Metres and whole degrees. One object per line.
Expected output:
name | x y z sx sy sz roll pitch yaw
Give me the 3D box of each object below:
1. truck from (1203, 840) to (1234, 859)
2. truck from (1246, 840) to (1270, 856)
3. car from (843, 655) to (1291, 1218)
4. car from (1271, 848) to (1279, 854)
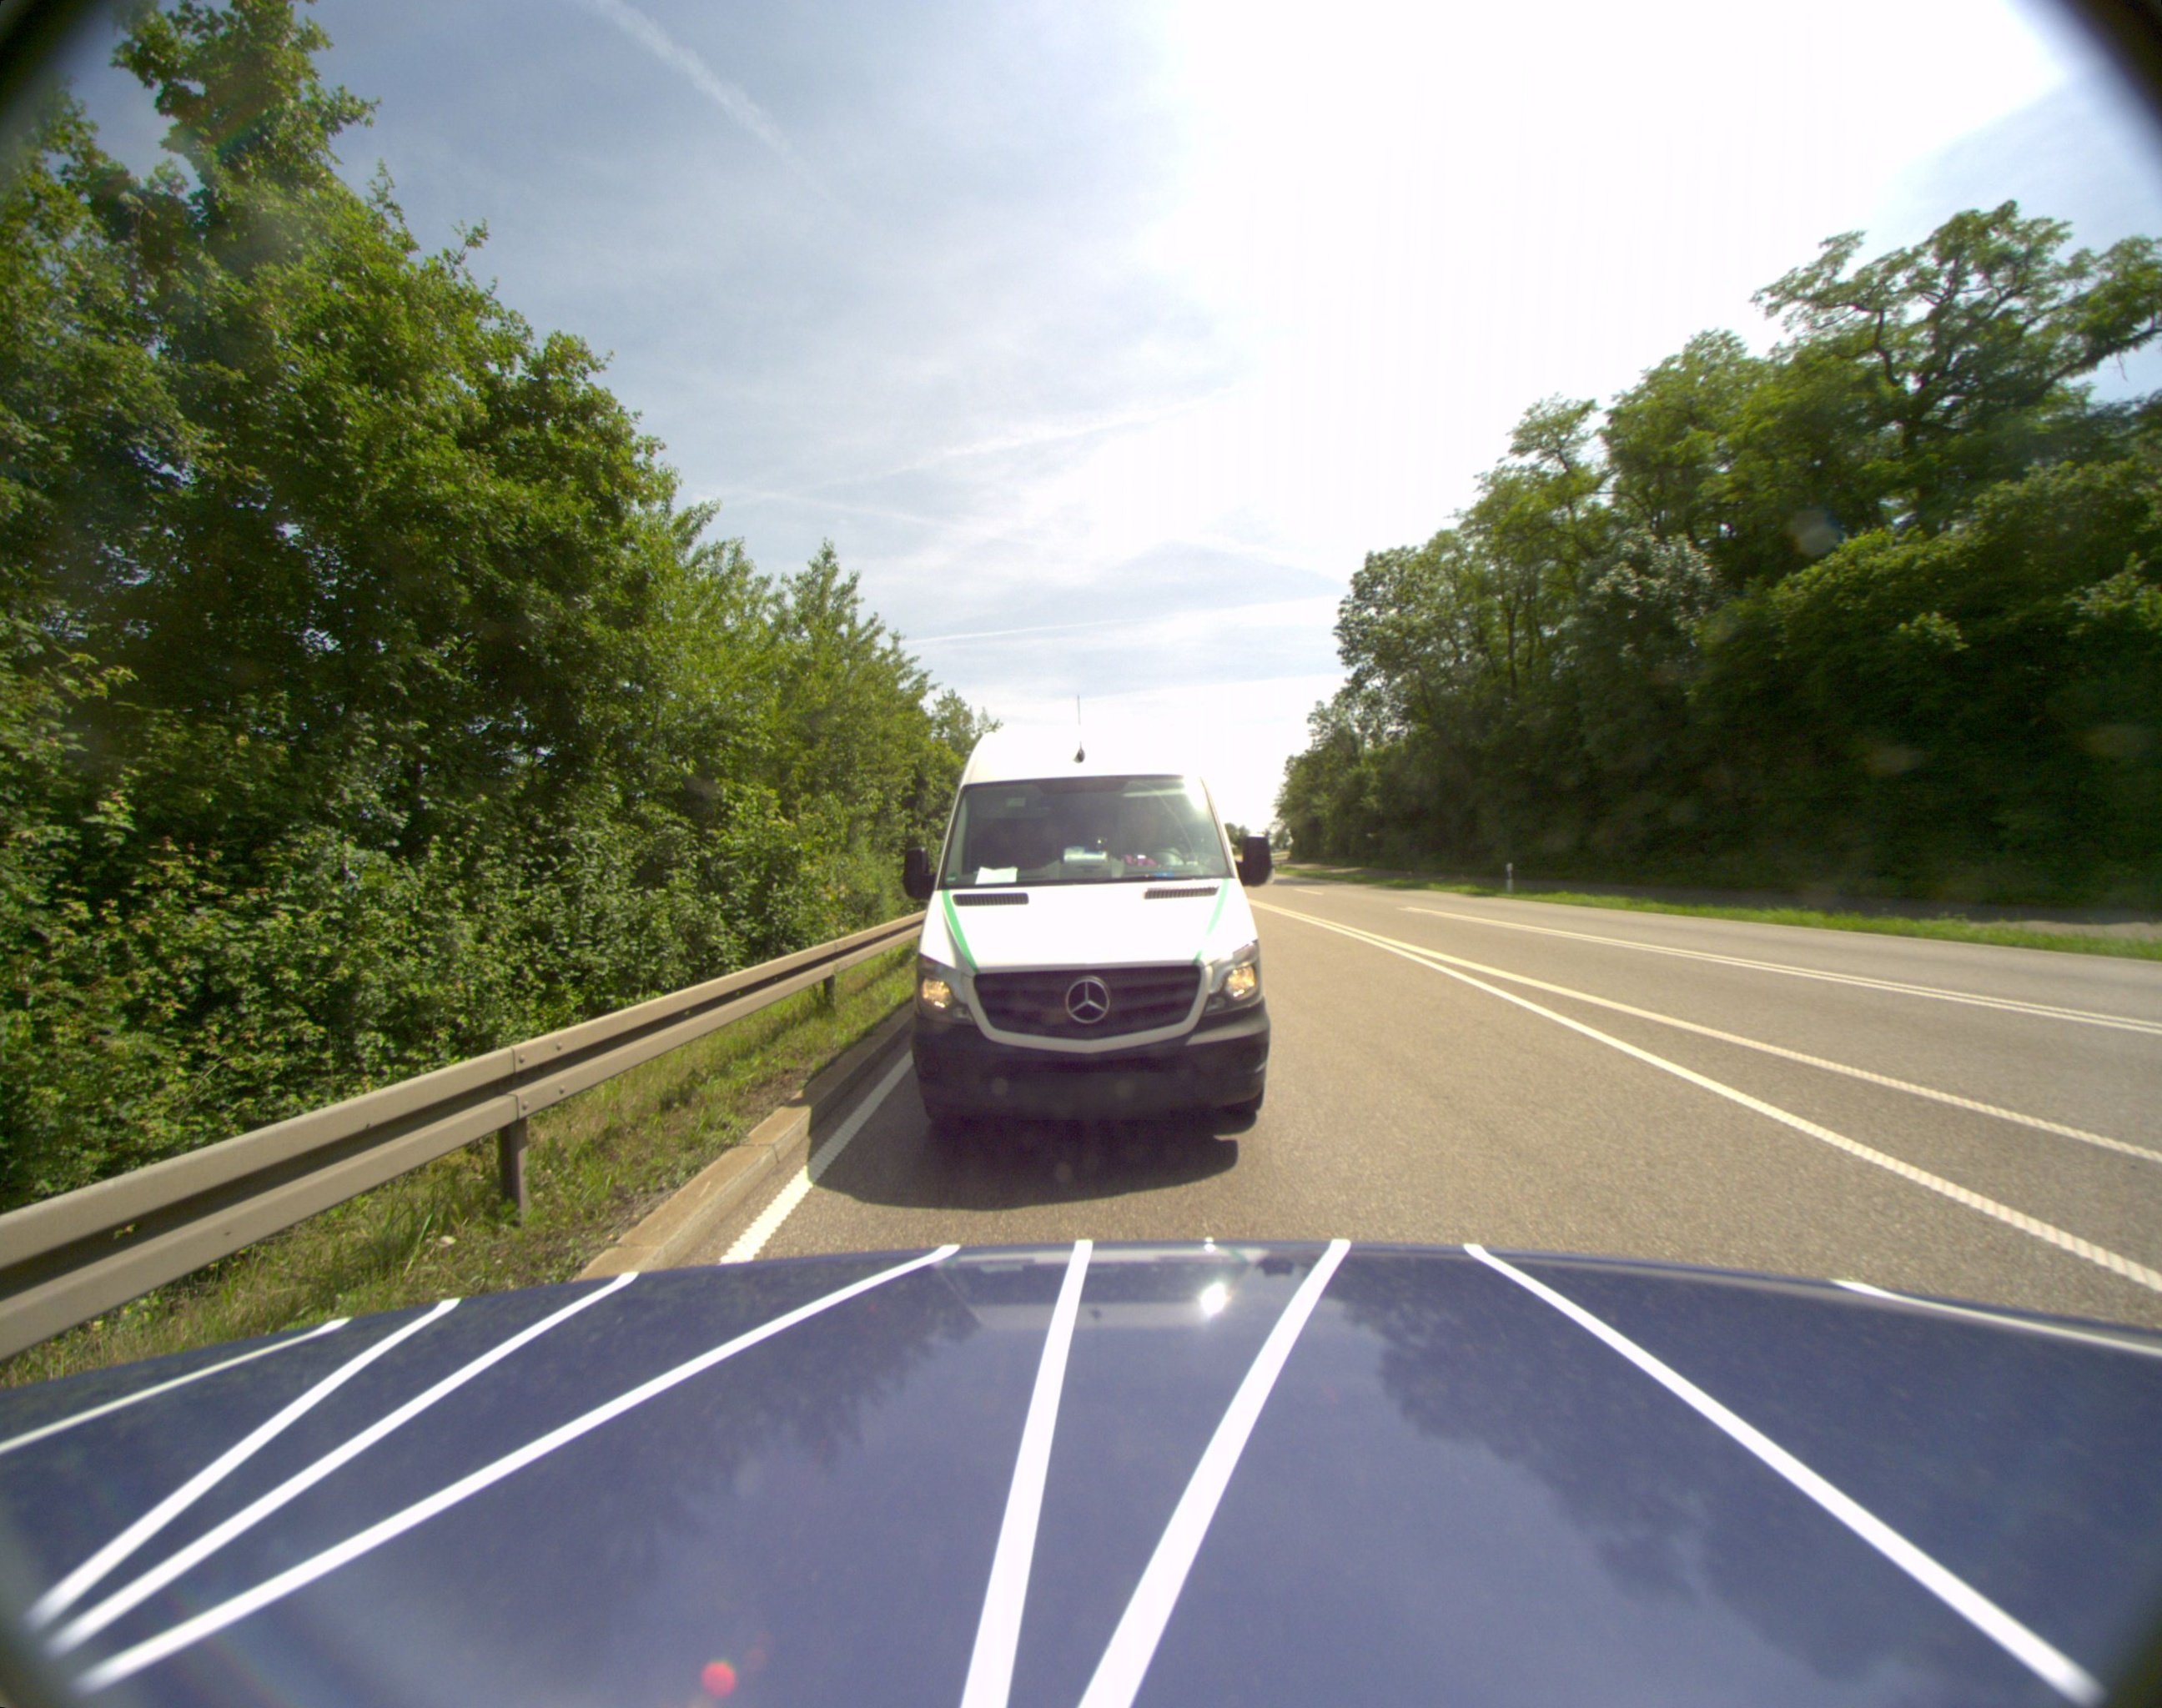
truck | 33.735 -1.139 186.002 4.391 4.433 14.733 -2 0 22
truck | 53.102 -1.866 227.330 3.979 4.433 14.364 -2 0 26
car | 0.015 0.395 6.079 1.958 2.502 5.267 -2 0 2
car | 63.451 -1.054 248.528 1.915 2.002 4.182 -1 1 25
